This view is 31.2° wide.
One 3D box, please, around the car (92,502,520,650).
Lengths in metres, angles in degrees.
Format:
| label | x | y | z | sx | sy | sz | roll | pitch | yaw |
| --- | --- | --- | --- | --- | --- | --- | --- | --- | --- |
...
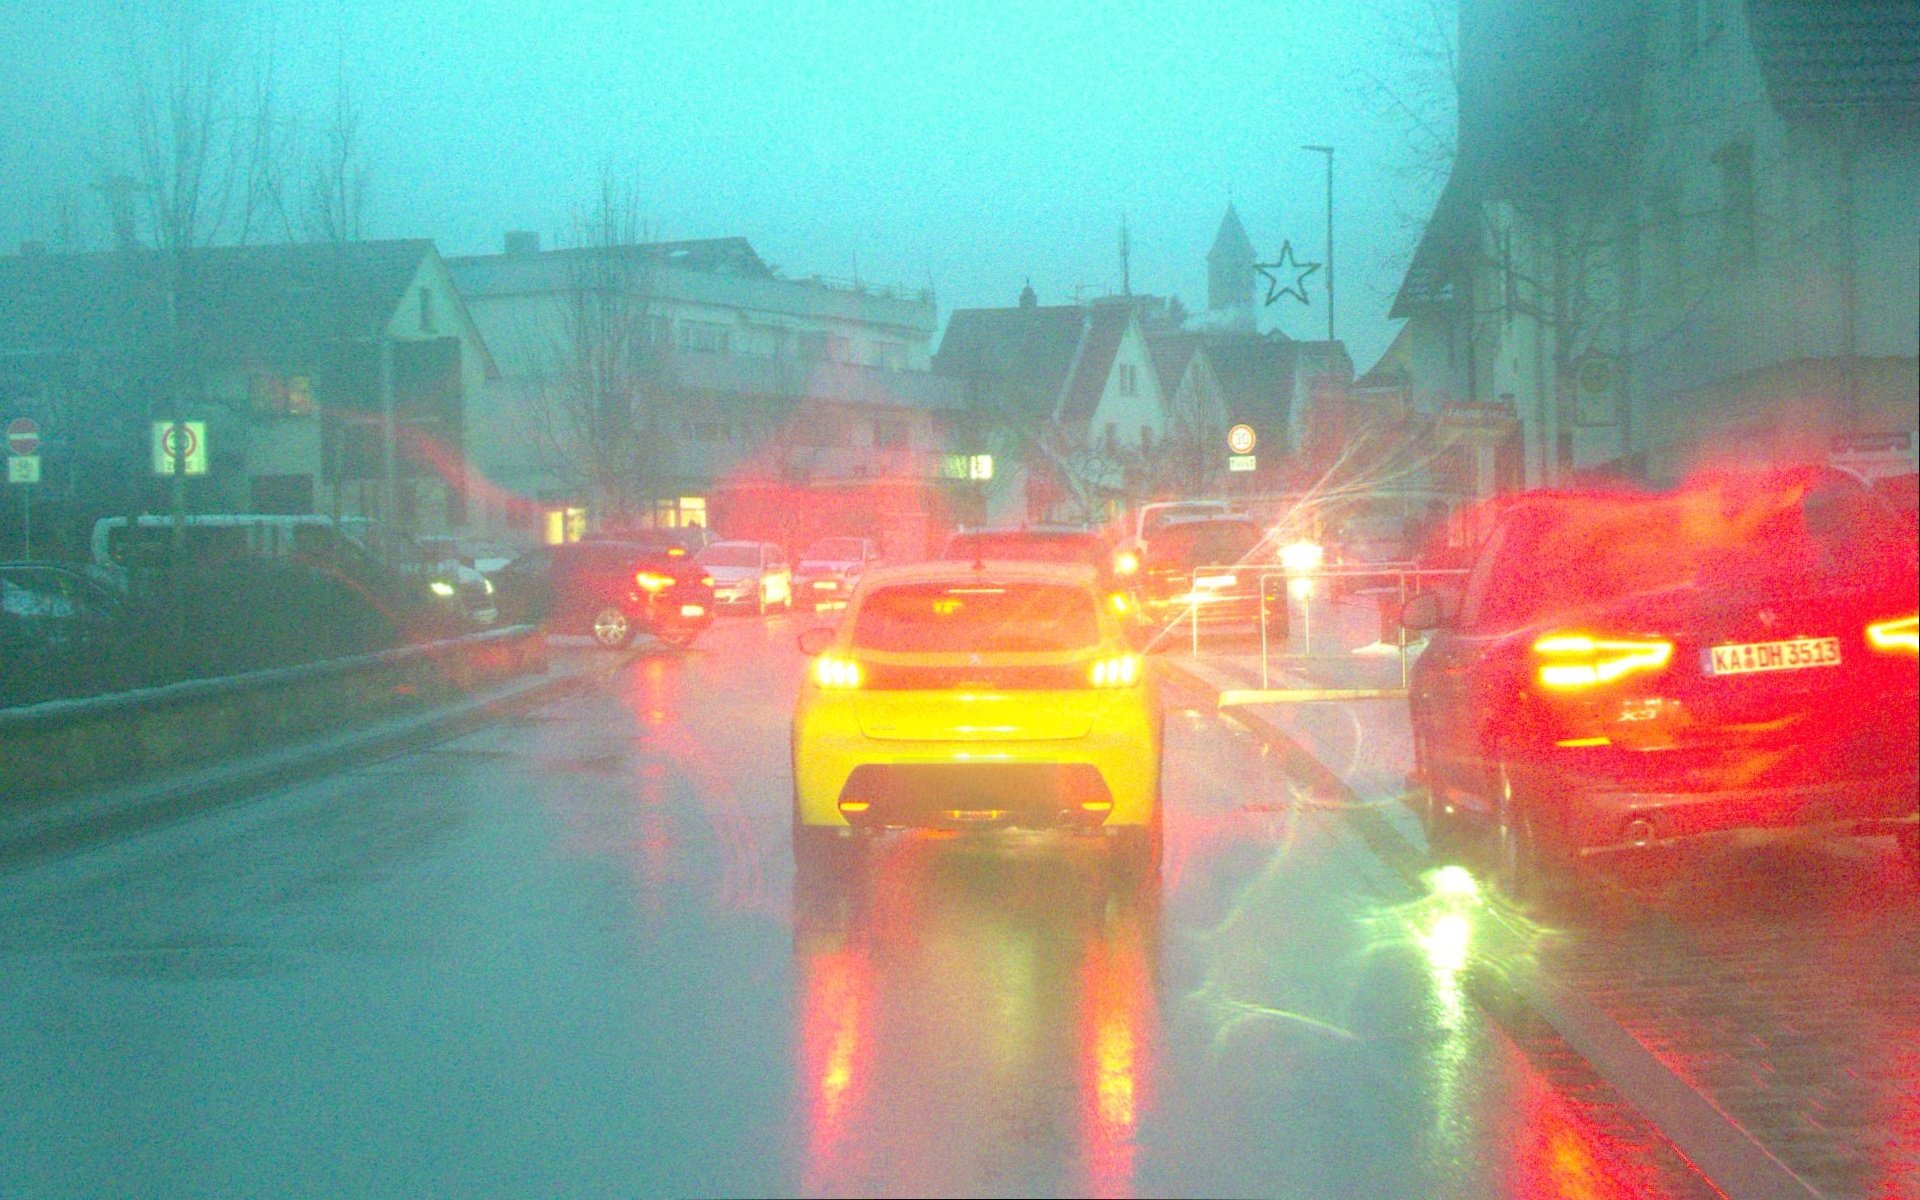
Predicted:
| label | x | y | z | sx | sy | sz | roll | pitch | yaw |
| --- | --- | --- | --- | --- | --- | --- | --- | --- | --- |
| car | -8.772 | -0.336 | 46.155 | 5.400 | 1.811 | 1.711 | 2 | 1 | 15 |

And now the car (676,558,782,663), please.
| label | x | y | z | sx | sy | sz | roll | pitch | yaw |
| --- | --- | --- | --- | --- | --- | --- | --- | --- | --- |
| car | -4.649 | 0.247 | 69.742 | 1.919 | 2.021 | 3.975 | 1 | -1 | -1 |

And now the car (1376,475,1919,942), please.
| label | x | y | z | sx | sy | sz | roll | pitch | yaw |
| --- | --- | --- | --- | --- | --- | --- | --- | --- | --- |
| car | 2.925 | 0.373 | 14.753 | 1.735 | 1.686 | 4.386 | -1 | 1 | 0 |

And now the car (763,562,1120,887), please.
| label | x | y | z | sx | sy | sz | roll | pitch | yaw |
| --- | --- | --- | --- | --- | --- | --- | --- | --- | --- |
| car | -0.061 | 0.534 | 16.755 | 1.563 | 1.408 | 3.018 | 1 | 1 | 1 |

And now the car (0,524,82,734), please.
| label | x | y | z | sx | sy | sz | roll | pitch | yaw |
| --- | --- | --- | --- | --- | --- | --- | --- | --- | --- |
| car | -9.418 | 0.216 | 27.832 | 4.167 | 1.638 | 1.658 | 0 | 0 | 5 |

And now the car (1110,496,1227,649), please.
| label | x | y | z | sx | sy | sz | roll | pitch | yaw |
| --- | --- | --- | --- | --- | --- | --- | --- | --- | --- |
| car | 3.543 | -0.423 | 59.115 | 1.870 | 2.461 | 4.443 | 1 | -1 | 2 |

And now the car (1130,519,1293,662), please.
| label | x | y | z | sx | sy | sz | roll | pitch | yaw |
| --- | --- | --- | --- | --- | --- | --- | --- | --- | --- |
| car | 3.368 | -0.134 | 46.758 | 1.997 | 1.858 | 4.083 | 0 | 0 | 1 |

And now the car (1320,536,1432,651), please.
| label | x | y | z | sx | sy | sz | roll | pitch | yaw |
| --- | --- | --- | --- | --- | --- | --- | --- | --- | --- |
| car | 8.609 | -0.108 | 71.430 | 1.994 | 2.241 | 3.999 | 1 | -1 | 3 |

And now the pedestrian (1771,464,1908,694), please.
| label | x | y | z | sx | sy | sz | roll | pitch | yaw |
| --- | --- | --- | --- | --- | --- | --- | --- | --- | --- |
| pedestrian | 5.879 | -0.153 | 23.015 | 0.618 | 1.510 | 0.734 | -1 | 2 | -12 |

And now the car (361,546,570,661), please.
| label | x | y | z | sx | sy | sz | roll | pitch | yaw |
| --- | --- | --- | --- | --- | --- | --- | --- | --- | --- |
| car | -10.189 | 0.094 | 70.703 | 1.995 | 2.244 | 4.383 | 2 | -2 | -45 |

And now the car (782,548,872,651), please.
| label | x | y | z | sx | sy | sz | roll | pitch | yaw |
| --- | --- | --- | --- | --- | --- | --- | --- | --- | --- |
| car | -2.967 | 0.014 | 77.531 | 1.919 | 2.208 | 3.975 | 1 | -1 | -1 |

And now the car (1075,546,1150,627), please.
| label | x | y | z | sx | sy | sz | roll | pitch | yaw |
| --- | --- | --- | --- | --- | --- | --- | --- | --- | --- |
| car | 4.190 | -0.349 | 95.028 | 1.993 | 2.105 | 3.999 | 1 | -1 | 2 |

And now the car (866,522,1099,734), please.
| label | x | y | z | sx | sy | sz | roll | pitch | yaw |
| --- | --- | --- | --- | --- | --- | --- | --- | --- | --- |
| car | 0.246 | 0.186 | 28.623 | 1.766 | 1.623 | 3.585 | 1 | 1 | 3 |
